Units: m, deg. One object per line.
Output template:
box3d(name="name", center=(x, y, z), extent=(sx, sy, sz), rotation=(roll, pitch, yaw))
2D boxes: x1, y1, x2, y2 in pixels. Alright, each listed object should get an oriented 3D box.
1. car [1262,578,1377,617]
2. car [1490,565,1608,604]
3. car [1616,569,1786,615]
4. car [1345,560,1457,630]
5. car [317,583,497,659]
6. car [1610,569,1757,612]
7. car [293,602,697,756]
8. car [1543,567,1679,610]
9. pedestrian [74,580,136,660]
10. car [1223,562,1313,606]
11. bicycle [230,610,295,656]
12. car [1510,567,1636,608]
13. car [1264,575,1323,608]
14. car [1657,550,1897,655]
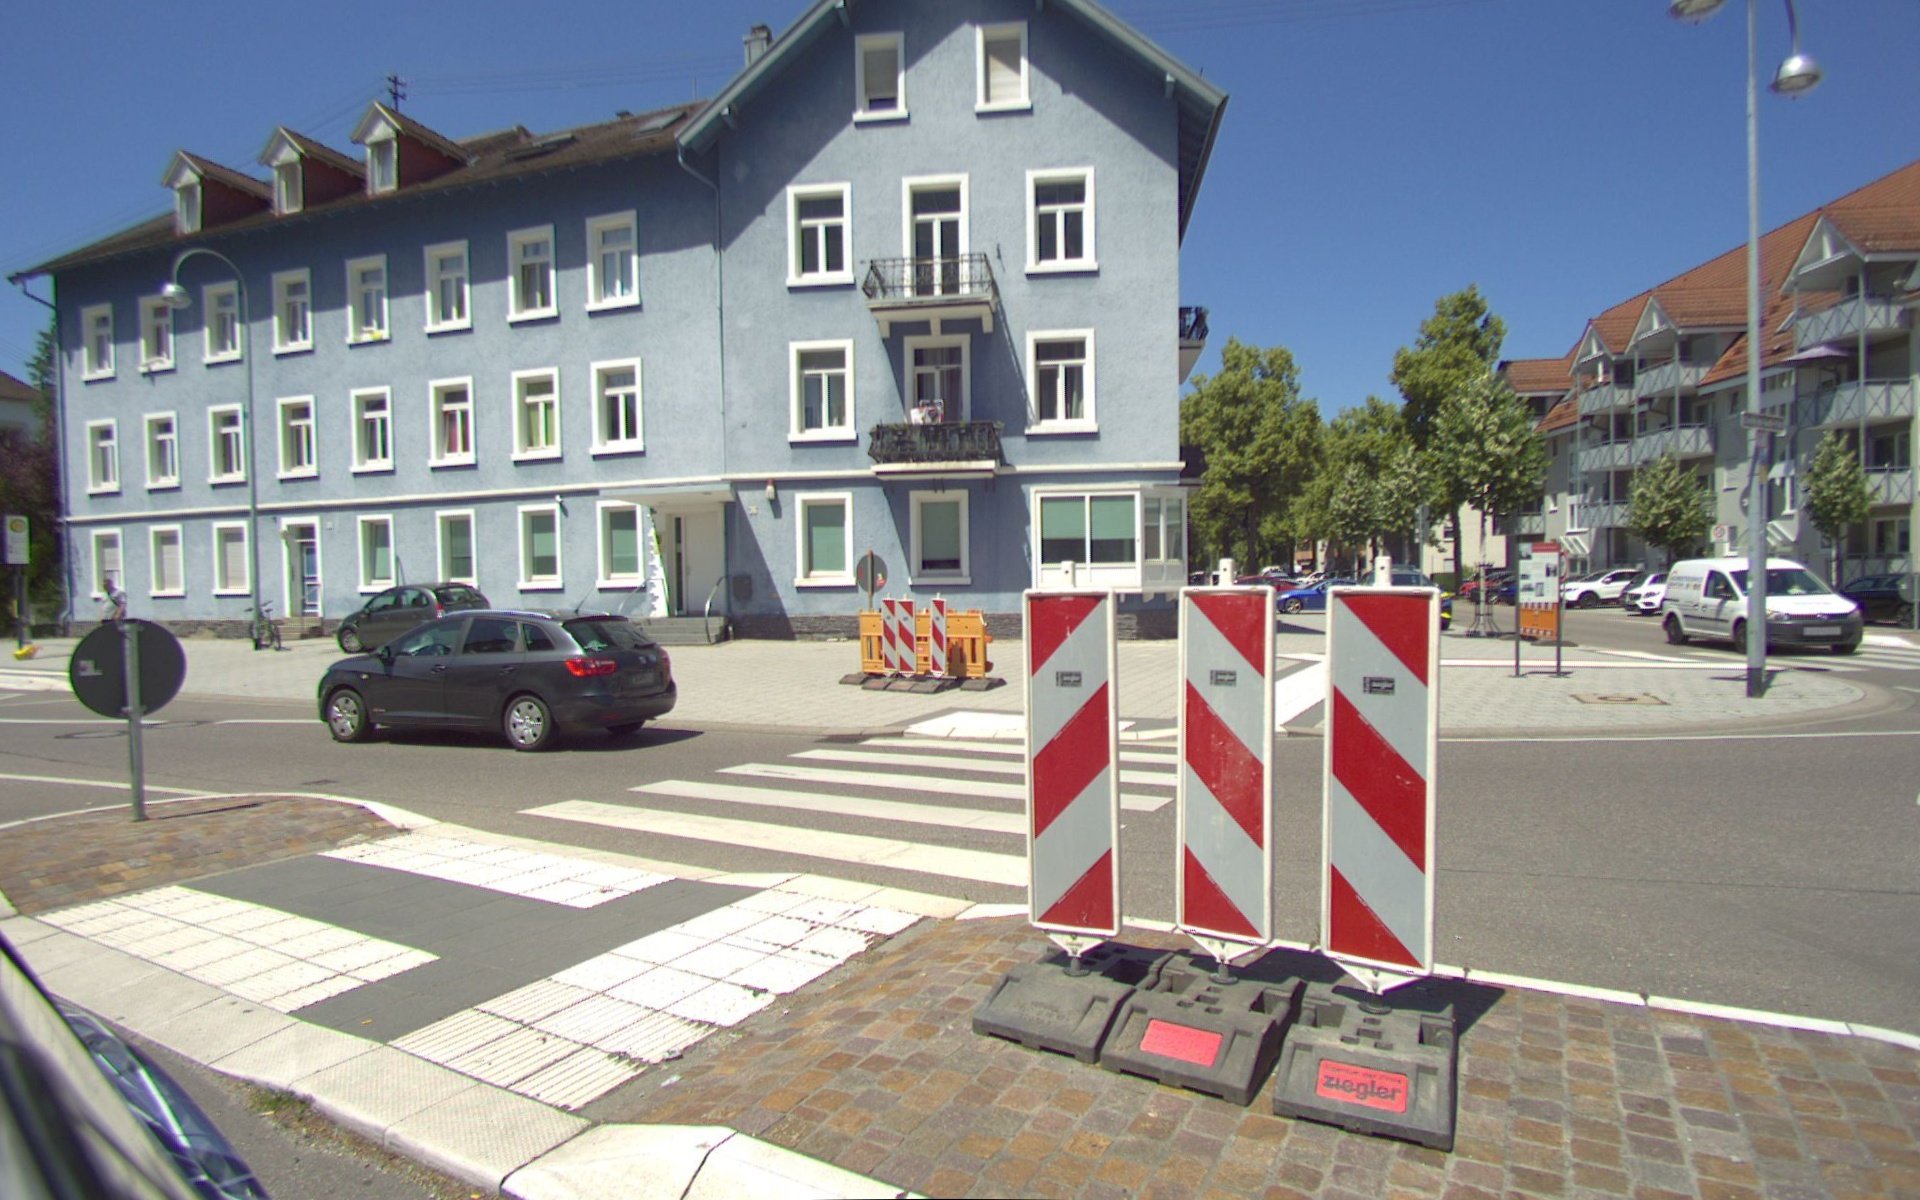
box3d(name="car", center=(14.157, -0.110, 40.027), extent=(3.985, 1.369, 1.658), rotation=(-1, 4, 8))
box3d(name="car", center=(27.690, -0.718, 47.700), extent=(4.321, 1.683, 1.978), rotation=(-1, 0, 8))
box3d(name="car", center=(26.053, -0.267, 35.721), extent=(4.357, 1.503, 1.978), rotation=(-1, 0, 8))
box3d(name="car", center=(12.374, -0.174, 28.693), extent=(1.760, 1.791, 4.234), rotation=(-1, 1, 7))
box3d(name="car", center=(-12.443, 0.417, 22.774), extent=(3.751, 1.546, 1.571), rotation=(1, 2, 23))
box3d(name="car", center=(27.378, -0.361, 38.414), extent=(4.034, 1.503, 1.978), rotation=(-1, 0, 8))
box3d(name="car", center=(-5.055, 0.786, 11.056), extent=(3.991, 1.463, 1.655), rotation=(-1, -1, 19))
box3d(name="car", center=(27.291, -0.461, 42.578), extent=(4.321, 1.683, 1.978), rotation=(-1, 0, 8))
box3d(name="pedestrian", center=(-20.708, 0.473, 24.522), extent=(0.766, 1.861, 0.753), rotation=(-1, 4, 21))
box3d(name="car", center=(15.169, -0.789, 50.056), extent=(3.954, 2.028, 1.995), rotation=(-1, 2, 9))
box3d(name="bicycle", center=(-16.567, 0.763, 24.025), extent=(1.967, 0.984, 0.492), rotation=(1, 6, 33))
box3d(name="car", center=(27.270, -0.551, 45.152), extent=(4.321, 1.683, 1.978), rotation=(-1, 0, 8))
box3d(name="car", center=(17.579, -0.441, 53.510), extent=(2.257, 1.705, 4.117), rotation=(0, 0, 8))
box3d(name="car", center=(15.500, -0.038, 19.539), extent=(1.762, 1.790, 4.230), rotation=(-1, 2, 10))
